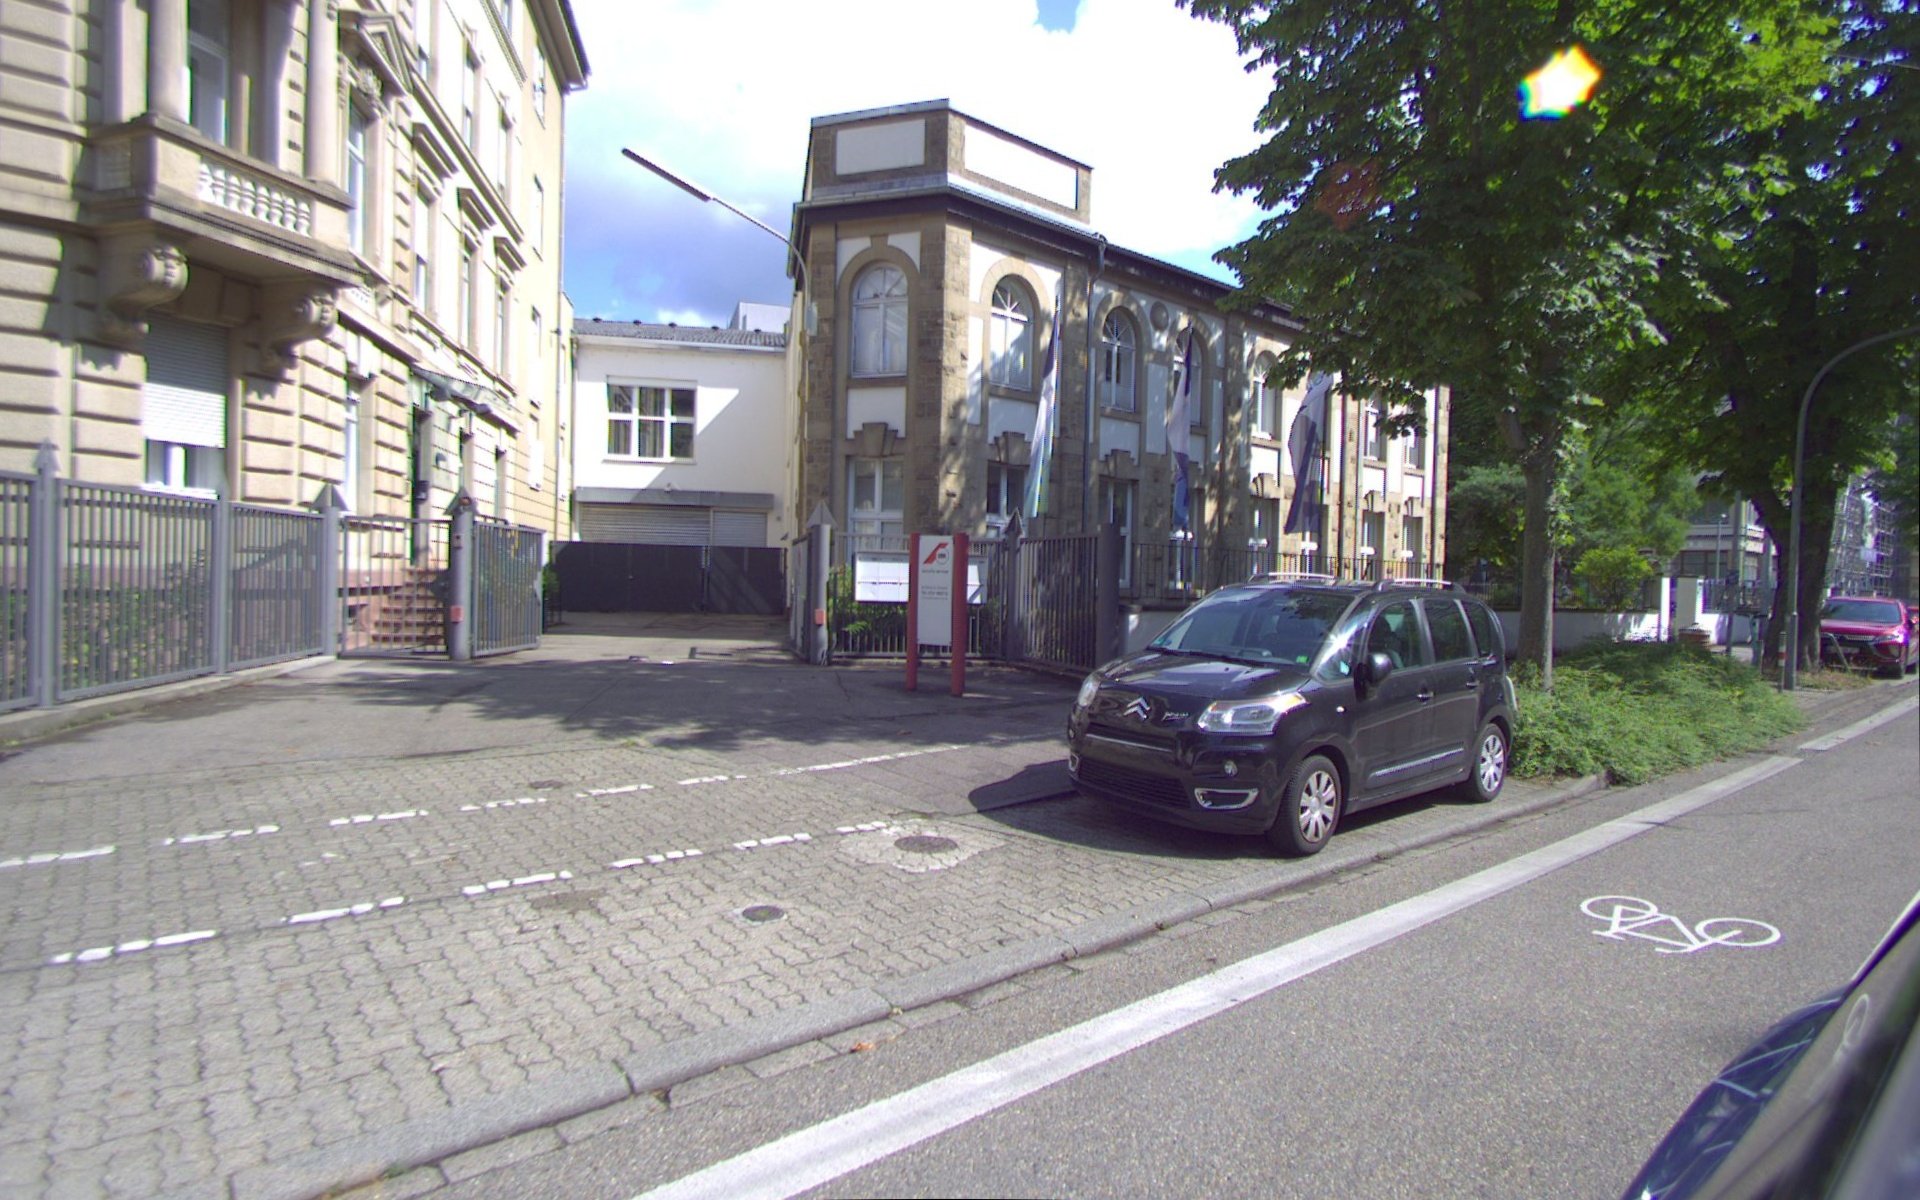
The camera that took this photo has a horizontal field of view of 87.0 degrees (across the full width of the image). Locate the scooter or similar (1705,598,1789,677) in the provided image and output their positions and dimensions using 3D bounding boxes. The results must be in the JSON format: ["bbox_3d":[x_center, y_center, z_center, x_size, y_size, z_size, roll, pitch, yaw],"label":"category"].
[{"bbox_3d":[13.152,0.630,16.912,1.233,1.252,0.343,2,3,-16],"label":"scooter or similar"}]

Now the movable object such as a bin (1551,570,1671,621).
[{"bbox_3d":[36.638,-0.254,57.052,5.328,2.474,2.001,4,1,-2],"label":"movable object such as a bin"}]

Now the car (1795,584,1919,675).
[{"bbox_3d":[19.740,0.567,21.943,4.209,1.696,1.879,0,3,-42],"label":"car"}]

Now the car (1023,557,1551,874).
[{"bbox_3d":[2.536,0.570,7.286,4.130,1.610,1.700,0,4,-41],"label":"car"}]

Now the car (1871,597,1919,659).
[{"bbox_3d":[25.245,0.729,26.515,3.535,1.445,1.604,0,5,-42],"label":"car"}]
